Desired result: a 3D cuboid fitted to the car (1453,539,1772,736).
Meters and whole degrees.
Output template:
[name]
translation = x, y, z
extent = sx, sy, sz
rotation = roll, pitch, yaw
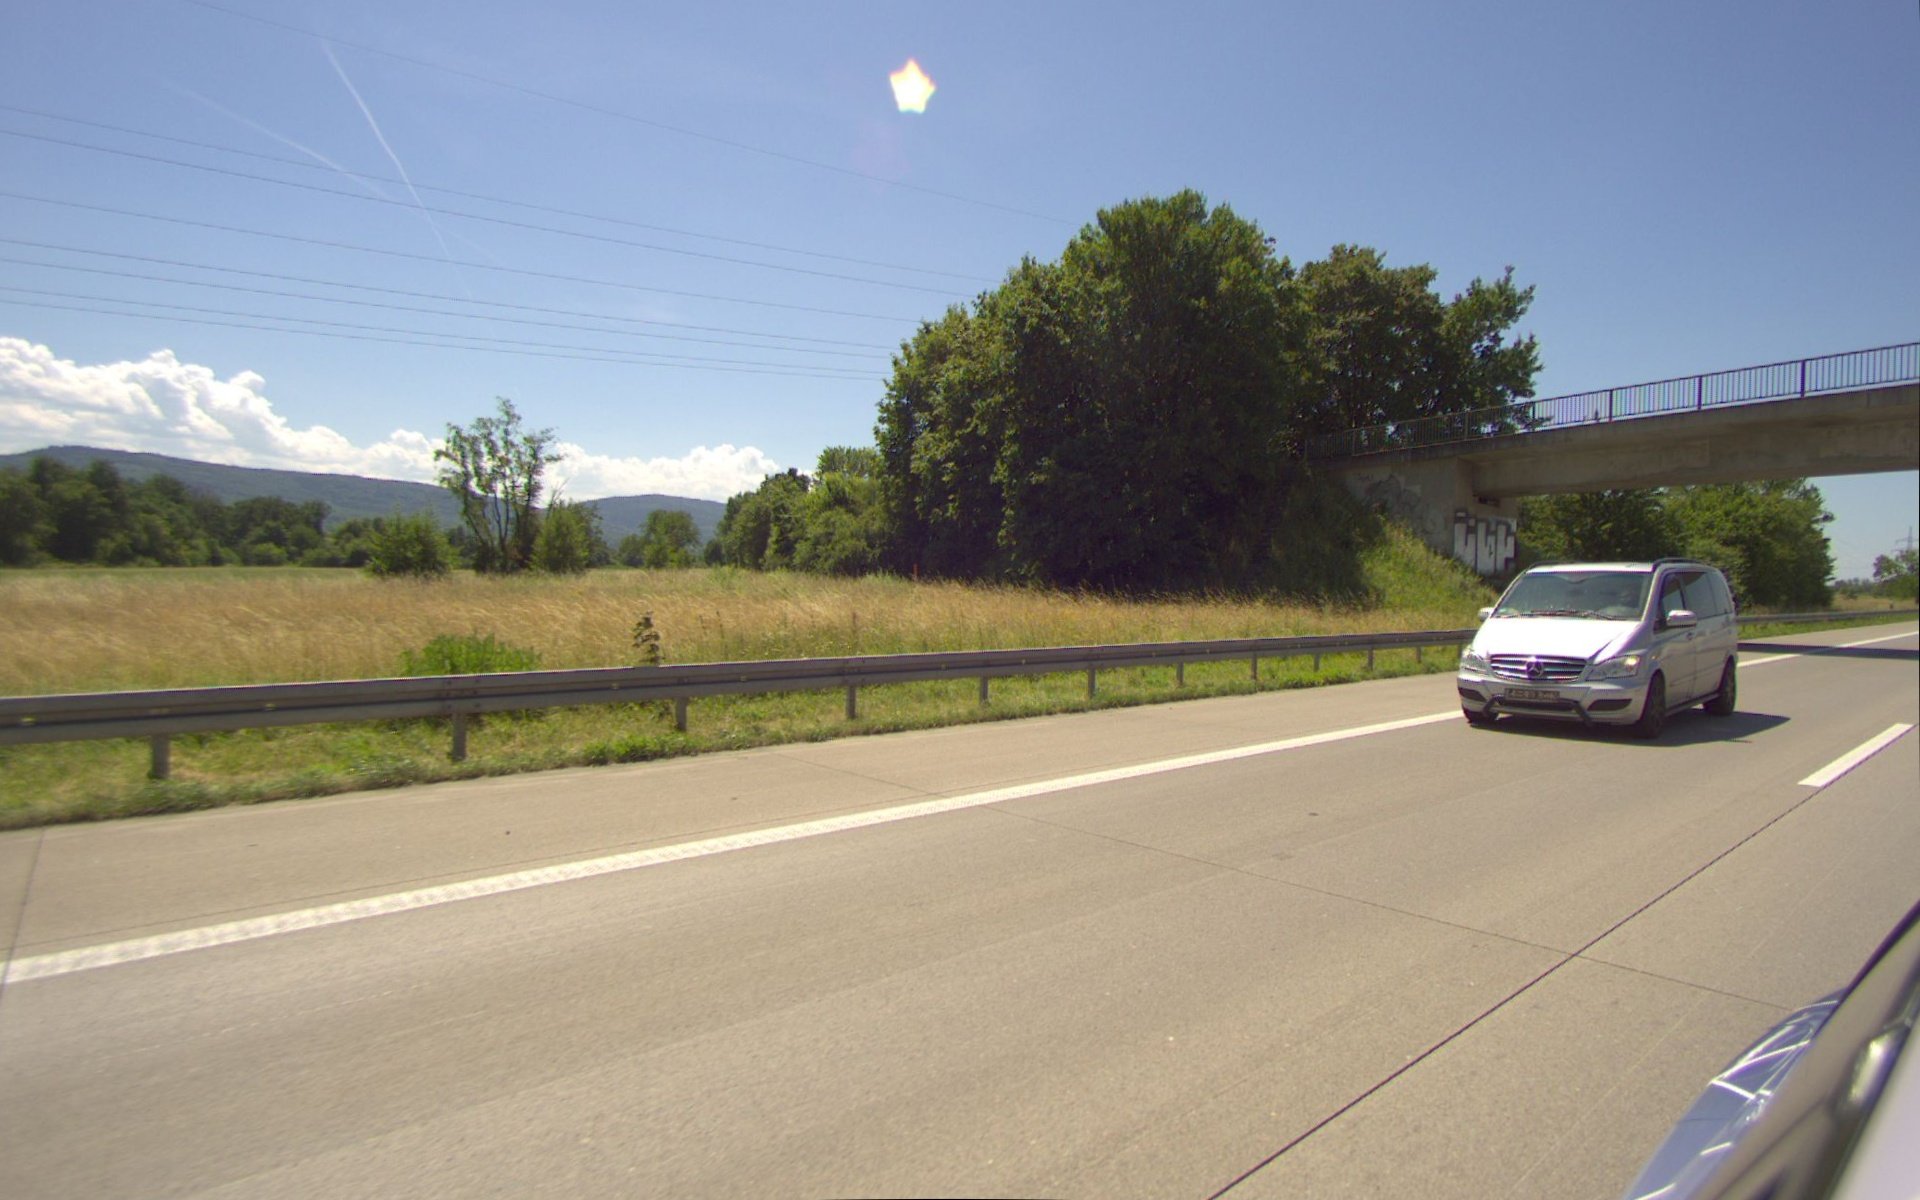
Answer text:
[car]
translation = 8.073, 0.344, 12.286
extent = 5.187, 1.913, 1.882
rotation = 0, 1, -41
